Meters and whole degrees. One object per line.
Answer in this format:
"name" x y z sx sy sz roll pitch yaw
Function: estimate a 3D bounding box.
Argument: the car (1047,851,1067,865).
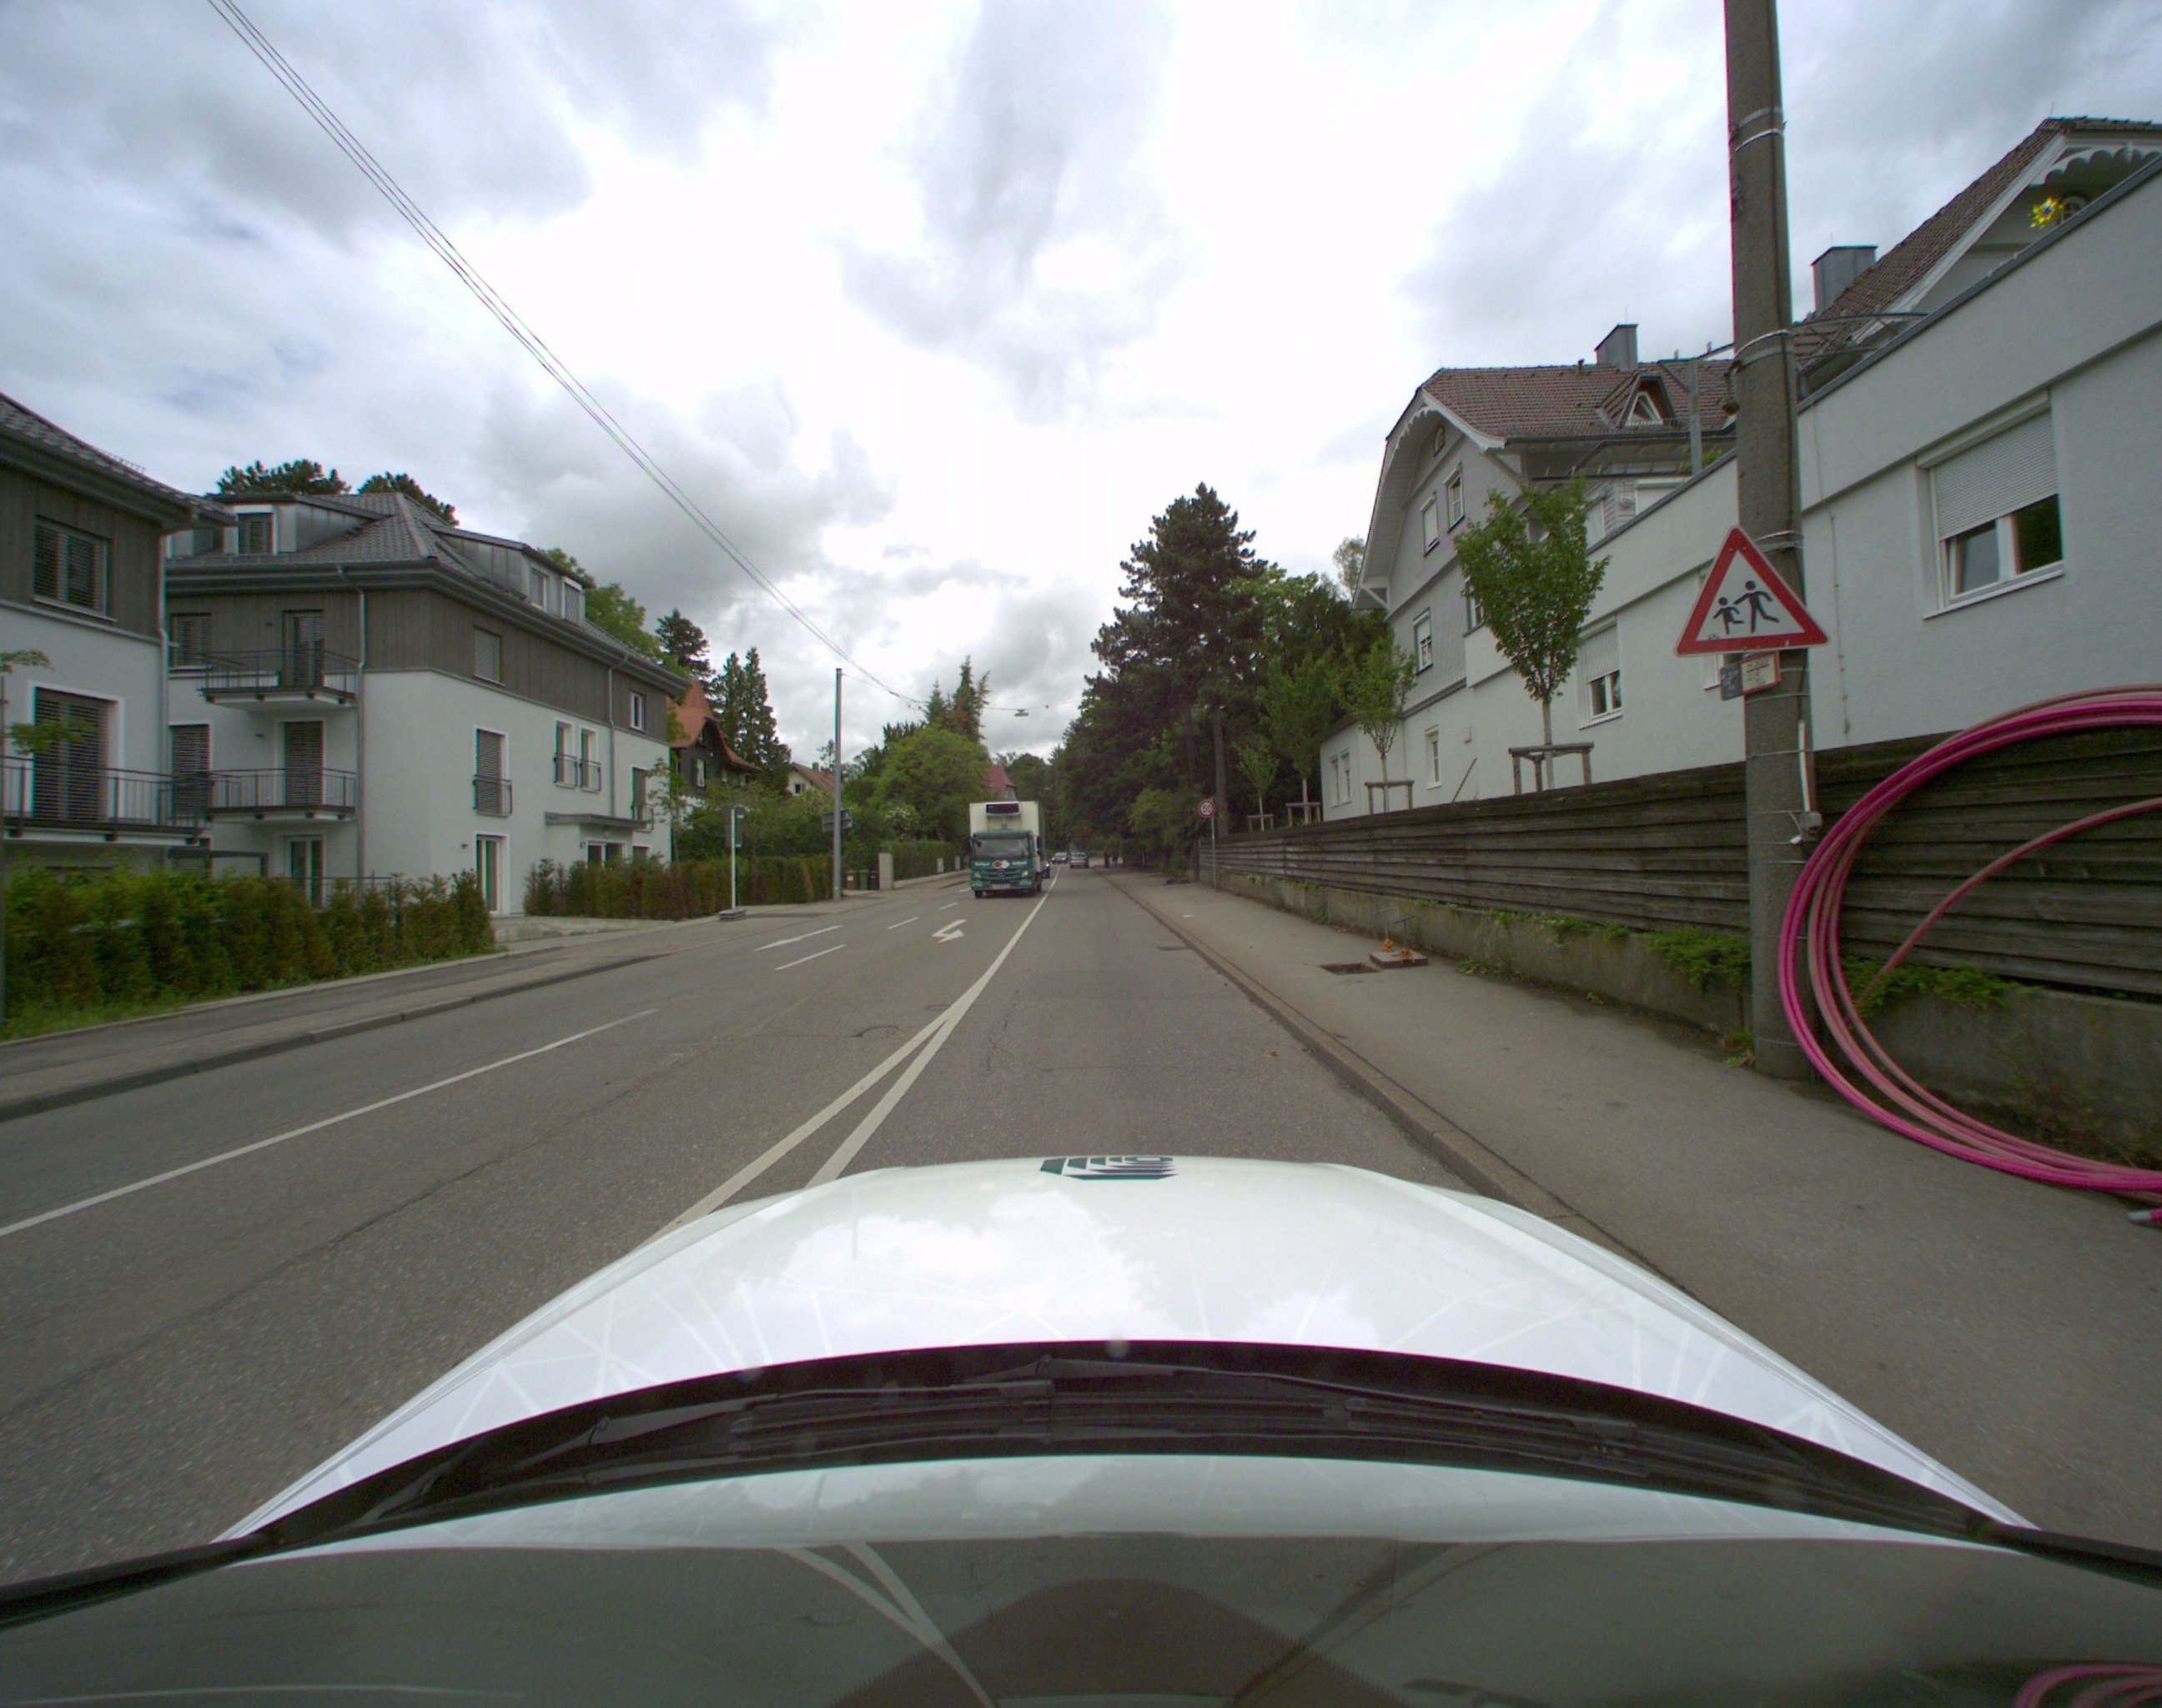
"car" -2.798 0.456 96.733 1.671 1.471 4.026 -2 0 7

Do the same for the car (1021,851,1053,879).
"car" -2.935 0.708 53.490 1.804 1.717 4.368 -2 0 -7

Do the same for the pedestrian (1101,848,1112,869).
"pedestrian" 2.194 0.378 69.756 0.805 1.807 0.740 -2 0 -2

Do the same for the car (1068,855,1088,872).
"car" -0.294 0.908 76.414 1.791 1.415 4.335 -2 -1 0

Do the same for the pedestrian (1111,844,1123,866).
"pedestrian" 3.130 0.083 70.457 0.695 1.807 0.665 -2 0 -42

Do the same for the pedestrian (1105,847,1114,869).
"pedestrian" 2.472 0.349 70.681 0.594 1.807 0.522 -2 0 39

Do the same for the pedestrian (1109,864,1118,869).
"pedestrian" 2.670 1.063 67.386 0.670 0.393 0.740 -2 0 -2

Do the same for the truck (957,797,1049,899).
"truck" -2.854 -0.135 32.049 2.769 3.461 7.492 -2 -1 0
